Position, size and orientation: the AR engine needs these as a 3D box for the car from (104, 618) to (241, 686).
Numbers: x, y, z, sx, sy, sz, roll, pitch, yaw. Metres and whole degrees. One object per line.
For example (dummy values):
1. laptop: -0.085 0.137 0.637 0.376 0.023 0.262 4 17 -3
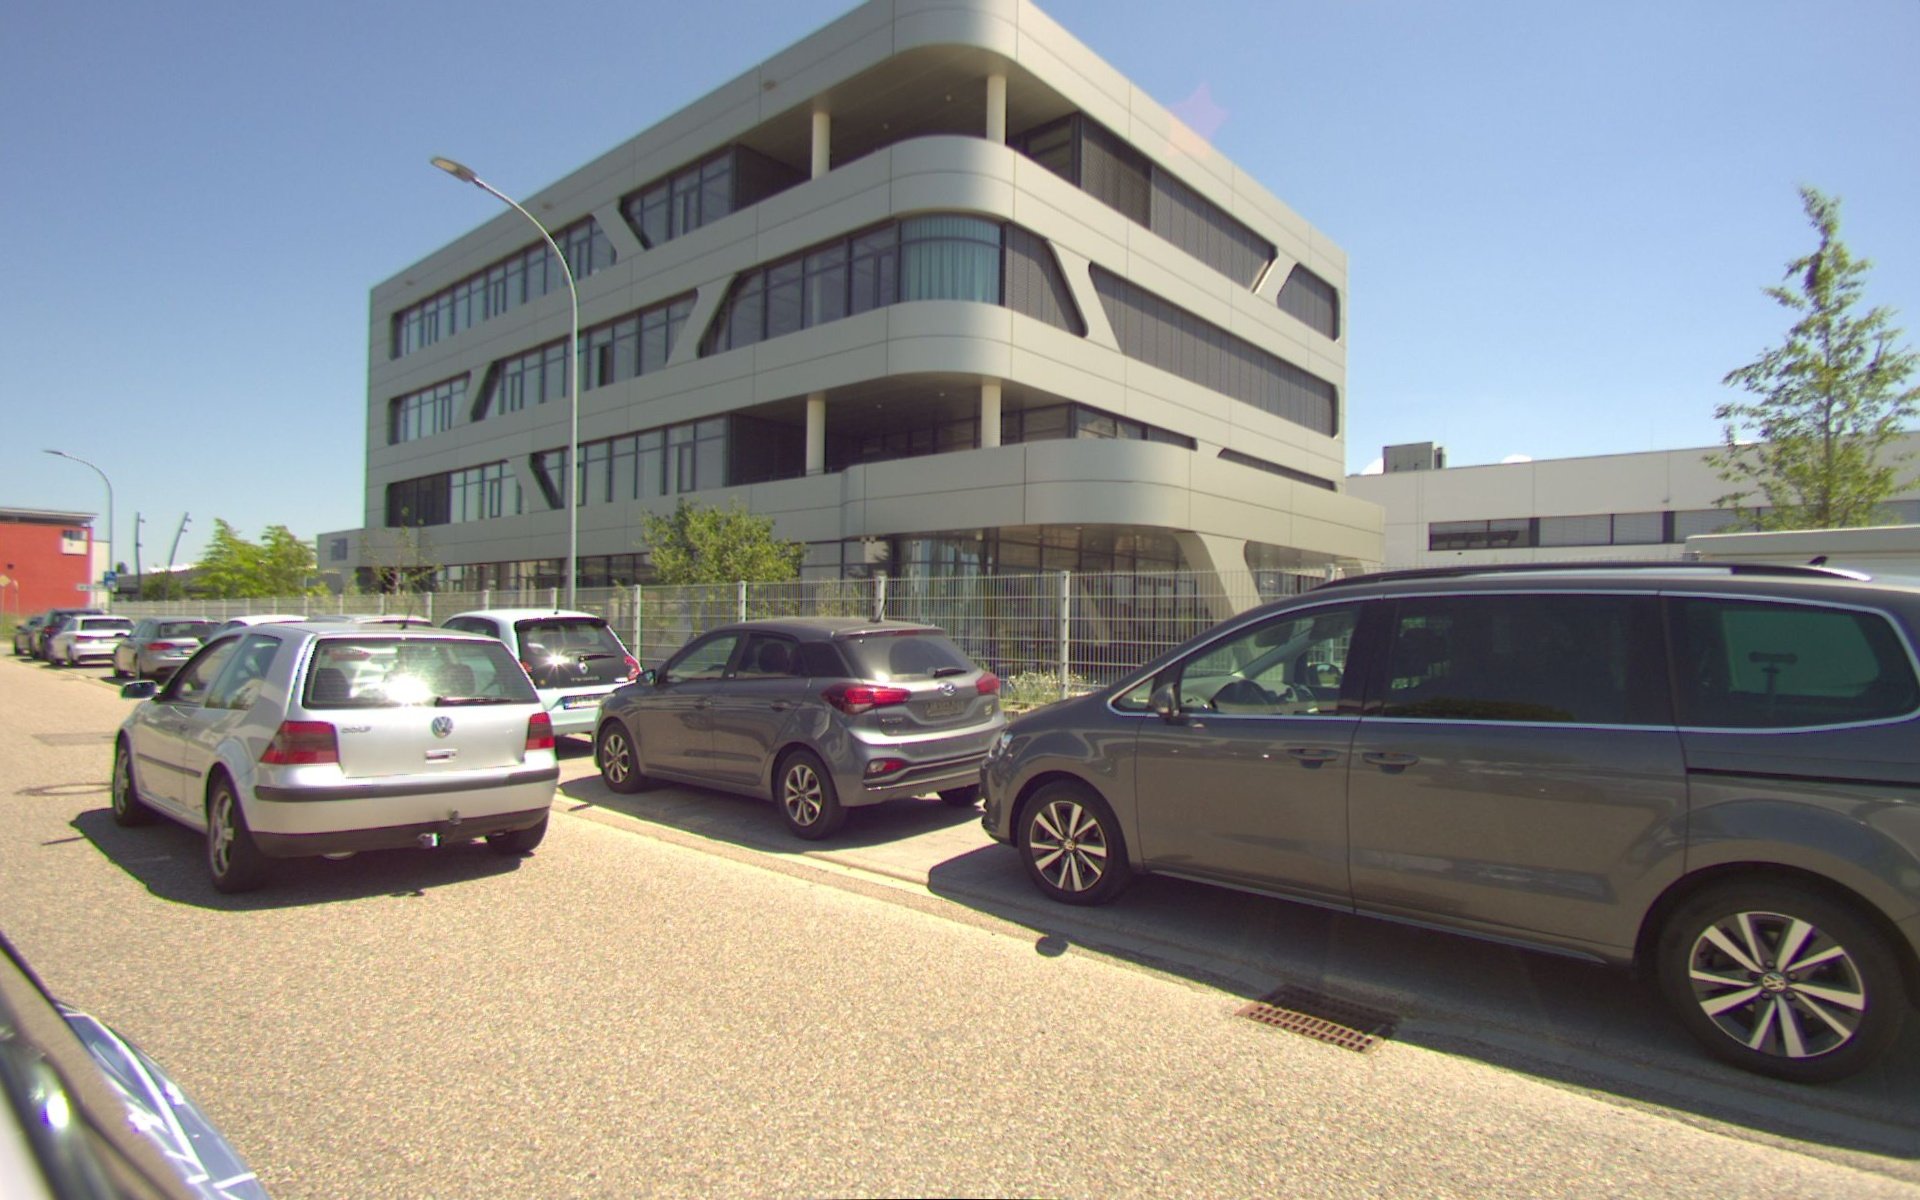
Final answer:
1. car: -17.927 1.118 22.958 4.638 1.396 1.666 -1 -2 42

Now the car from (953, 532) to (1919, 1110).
1. car: 2.272 0.676 4.777 4.620 1.732 1.783 -1 -1 42

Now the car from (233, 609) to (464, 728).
1. car: -9.375 0.921 15.353 4.569 1.548 1.685 -1 -1 41

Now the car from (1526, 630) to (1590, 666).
1. car: 28.506 2.274 48.205 1.922 1.597 3.945 -1 -3 41

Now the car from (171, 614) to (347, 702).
1. car: -13.351 1.005 19.168 4.437 1.454 1.685 -1 -1 41

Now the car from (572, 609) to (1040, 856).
1. car: -1.417 0.837 8.170 3.971 1.512 1.617 -1 -1 42

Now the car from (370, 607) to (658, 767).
1. car: -5.188 0.857 11.596 3.655 1.548 1.618 -1 -1 41

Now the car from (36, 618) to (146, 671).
1. car: -24.688 1.219 28.722 3.933 1.396 1.682 -1 -2 39

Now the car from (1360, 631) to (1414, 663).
1. car: 22.726 2.473 53.823 1.918 1.597 3.953 0 -2 34

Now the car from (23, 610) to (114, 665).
1. car: -29.092 1.188 32.969 4.851 1.664 1.750 -1 -2 43

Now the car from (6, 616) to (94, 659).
1. car: -33.022 1.339 36.691 4.182 1.477 1.752 -1 -2 39

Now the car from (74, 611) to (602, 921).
1. car: -4.483 0.831 6.907 4.782 1.422 1.686 -1 -4 41

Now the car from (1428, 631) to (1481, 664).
1. car: 25.412 2.407 51.966 1.918 1.597 3.953 0 -2 34
